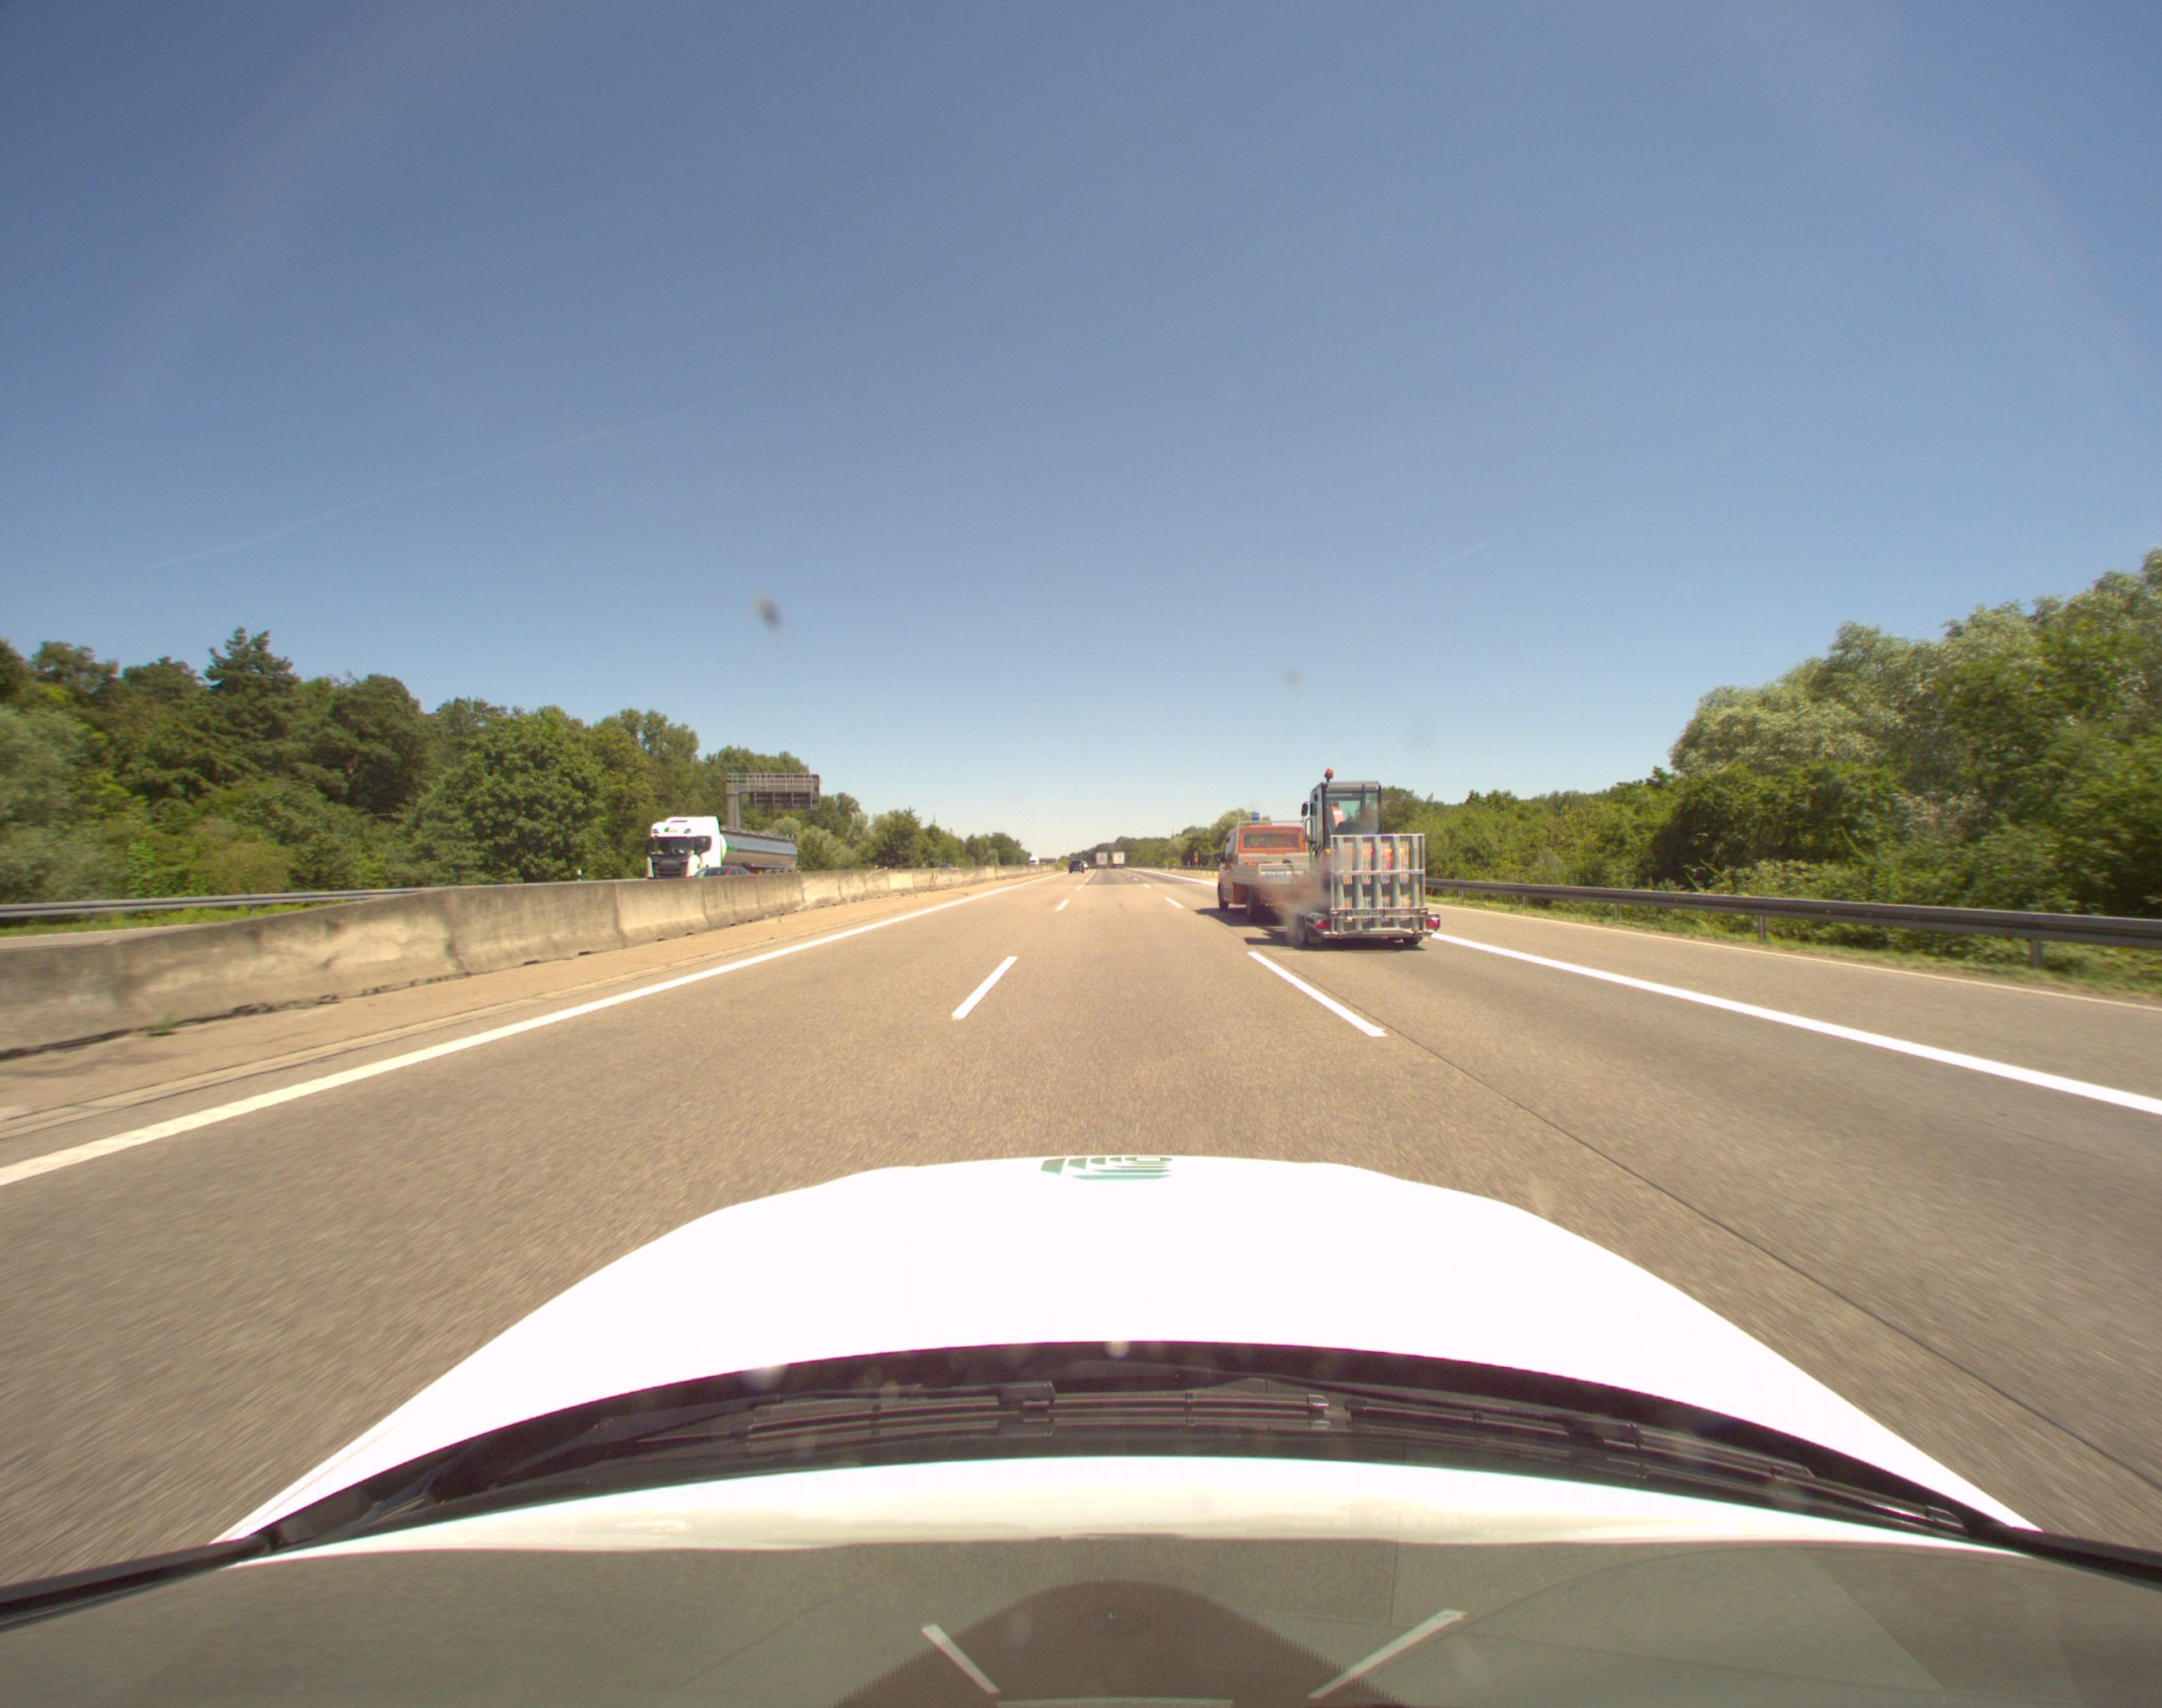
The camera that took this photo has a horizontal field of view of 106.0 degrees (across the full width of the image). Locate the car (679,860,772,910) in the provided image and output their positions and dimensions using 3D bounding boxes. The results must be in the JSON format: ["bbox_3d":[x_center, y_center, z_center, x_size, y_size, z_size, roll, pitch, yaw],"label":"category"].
[{"bbox_3d":[-15.431,1.283,35.642,1.987,2.014,4.575,-1,0,1],"label":"car"}]

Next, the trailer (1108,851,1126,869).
[{"bbox_3d":[8.700,1.405,198.074,3.361,4.143,9.079,3,0,-4],"label":"trailer"}]

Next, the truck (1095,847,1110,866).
[{"bbox_3d":[4.857,0.639,189.326,3.218,4.202,8.466,2,0,1],"label":"truck"}]

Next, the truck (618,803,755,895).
[{"bbox_3d":[-19.351,-0.213,40.623,2.798,4.047,7.730,2,0,1],"label":"truck"}]

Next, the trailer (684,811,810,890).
[{"bbox_3d":[-19.279,-0.166,47.972,2.798,4.047,10.431,2,0,1],"label":"trailer"}]

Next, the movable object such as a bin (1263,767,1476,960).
[{"bbox_3d":[4.743,0.159,14.281,2.166,2.815,4.762,0,-1,2],"label":"movable object such as a bin"}]

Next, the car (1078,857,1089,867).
[{"bbox_3d":[0.454,1.522,157.248,1.986,1.874,4.001,0,0,1],"label":"car"}]

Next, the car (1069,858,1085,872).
[{"bbox_3d":[-0.477,1.423,108.390,1.986,1.874,4.001,0,-1,2],"label":"car"}]

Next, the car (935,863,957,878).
[{"bbox_3d":[-18.467,2.204,111.681,1.985,2.014,4.432,0,-1,3],"label":"car"}]

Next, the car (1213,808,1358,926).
[{"bbox_3d":[4.783,0.298,20.311,1.986,2.405,7.229,0,0,2],"label":"car"}]
